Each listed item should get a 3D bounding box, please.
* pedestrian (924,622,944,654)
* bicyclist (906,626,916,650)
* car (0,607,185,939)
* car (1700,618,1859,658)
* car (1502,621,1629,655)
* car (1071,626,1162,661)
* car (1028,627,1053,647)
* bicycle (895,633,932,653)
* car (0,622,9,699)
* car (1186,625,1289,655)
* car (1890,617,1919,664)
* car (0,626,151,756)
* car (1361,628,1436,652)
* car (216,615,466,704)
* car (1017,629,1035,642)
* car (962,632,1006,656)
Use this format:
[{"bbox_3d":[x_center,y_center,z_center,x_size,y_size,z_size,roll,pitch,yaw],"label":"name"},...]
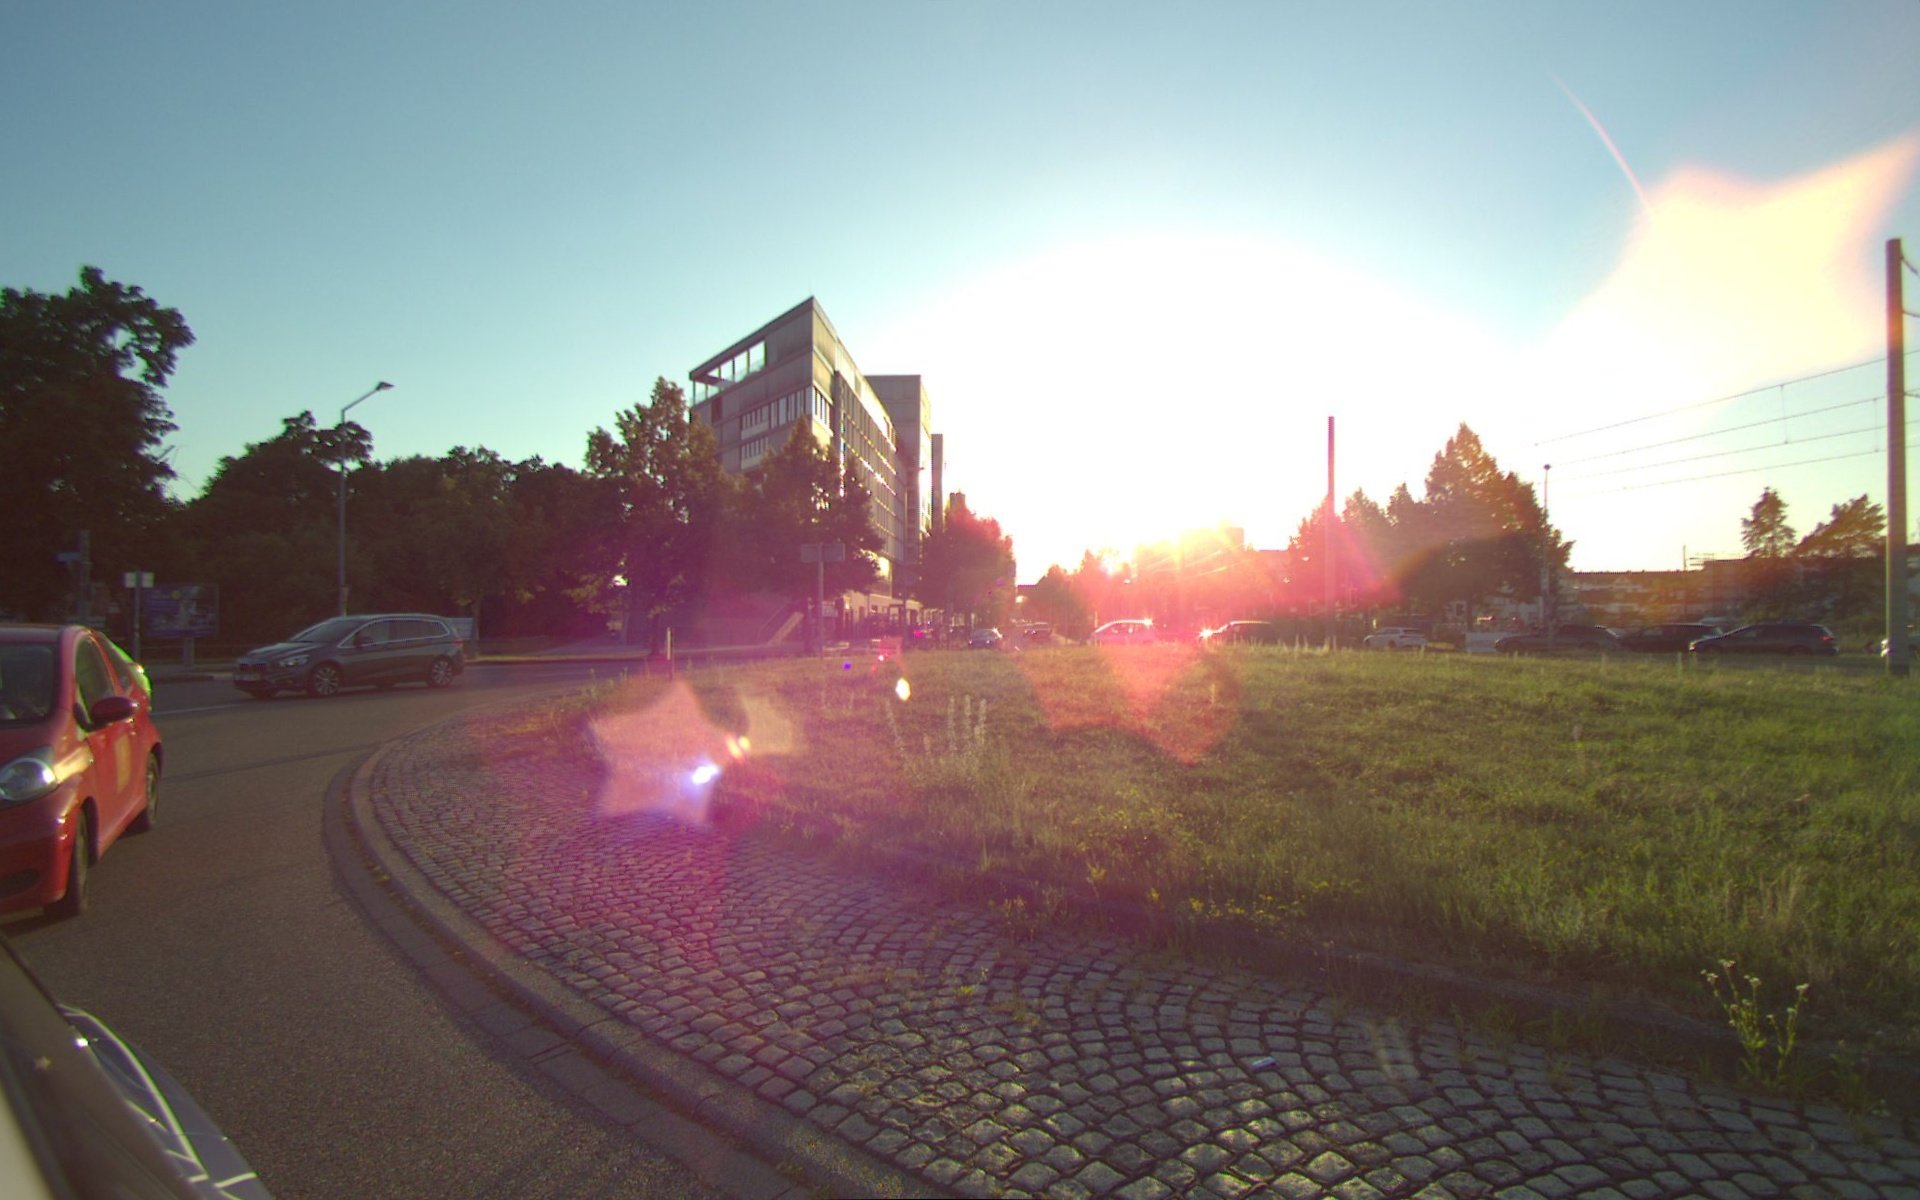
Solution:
[{"bbox_3d":[-1.674,2.423,64.524,0.995,2.029,0.768,-1,0,29],"label":"pedestrian"},{"bbox_3d":[-3.072,2.353,62.990,0.602,1.451,0.692,0,-1,-2],"label":"bicyclist"},{"bbox_3d":[-5.736,0.780,5.750,1.661,1.431,4.012,0,-1,-31],"label":"car"},{"bbox_3d":[30.632,1.385,37.924,1.969,1.386,4.389,1,-2,-42],"label":"car"},{"bbox_3d":[25.729,1.596,43.109,4.351,1.386,1.972,-1,-2,42],"label":"car"},{"bbox_3d":[7.342,2.040,47.716,3.831,1.592,1.958,0,-1,-7],"label":"car"},{"bbox_3d":[7.749,3.628,97.889,1.972,1.827,5.303,-1,-2,1],"label":"car"},{"bbox_3d":[-2.892,2.677,62.968,2.315,1.254,0.742,0,-1,0],"label":"bicycle"},{"bbox_3d":[-22.377,1.276,21.094,4.163,1.618,1.988,-1,-1,18],"label":"car"},{"bbox_3d":[13.101,1.890,47.953,4.325,1.386,1.999,0,-1,2],"label":"car"},{"bbox_3d":[37.375,1.485,36.950,1.863,1.750,4.644,0,-1,-29],"label":"car"},{"bbox_3d":[-11.525,1.018,11.185,1.670,1.431,3.990,0,-1,8],"label":"car"},{"bbox_3d":[26.085,2.357,60.353,2.077,1.377,4.474,0,-1,-8],"label":"car"},{"bbox_3d":[-12.358,1.118,20.576,1.719,1.590,4.306,-1,-1,17],"label":"car"},{"bbox_3d":[7.970,4.279,121.712,1.973,1.464,3.998,0,-1,1],"label":"car"},{"bbox_3d":[1.554,2.748,63.870,1.736,1.389,4.102,-1,-1,17],"label":"car"}]
